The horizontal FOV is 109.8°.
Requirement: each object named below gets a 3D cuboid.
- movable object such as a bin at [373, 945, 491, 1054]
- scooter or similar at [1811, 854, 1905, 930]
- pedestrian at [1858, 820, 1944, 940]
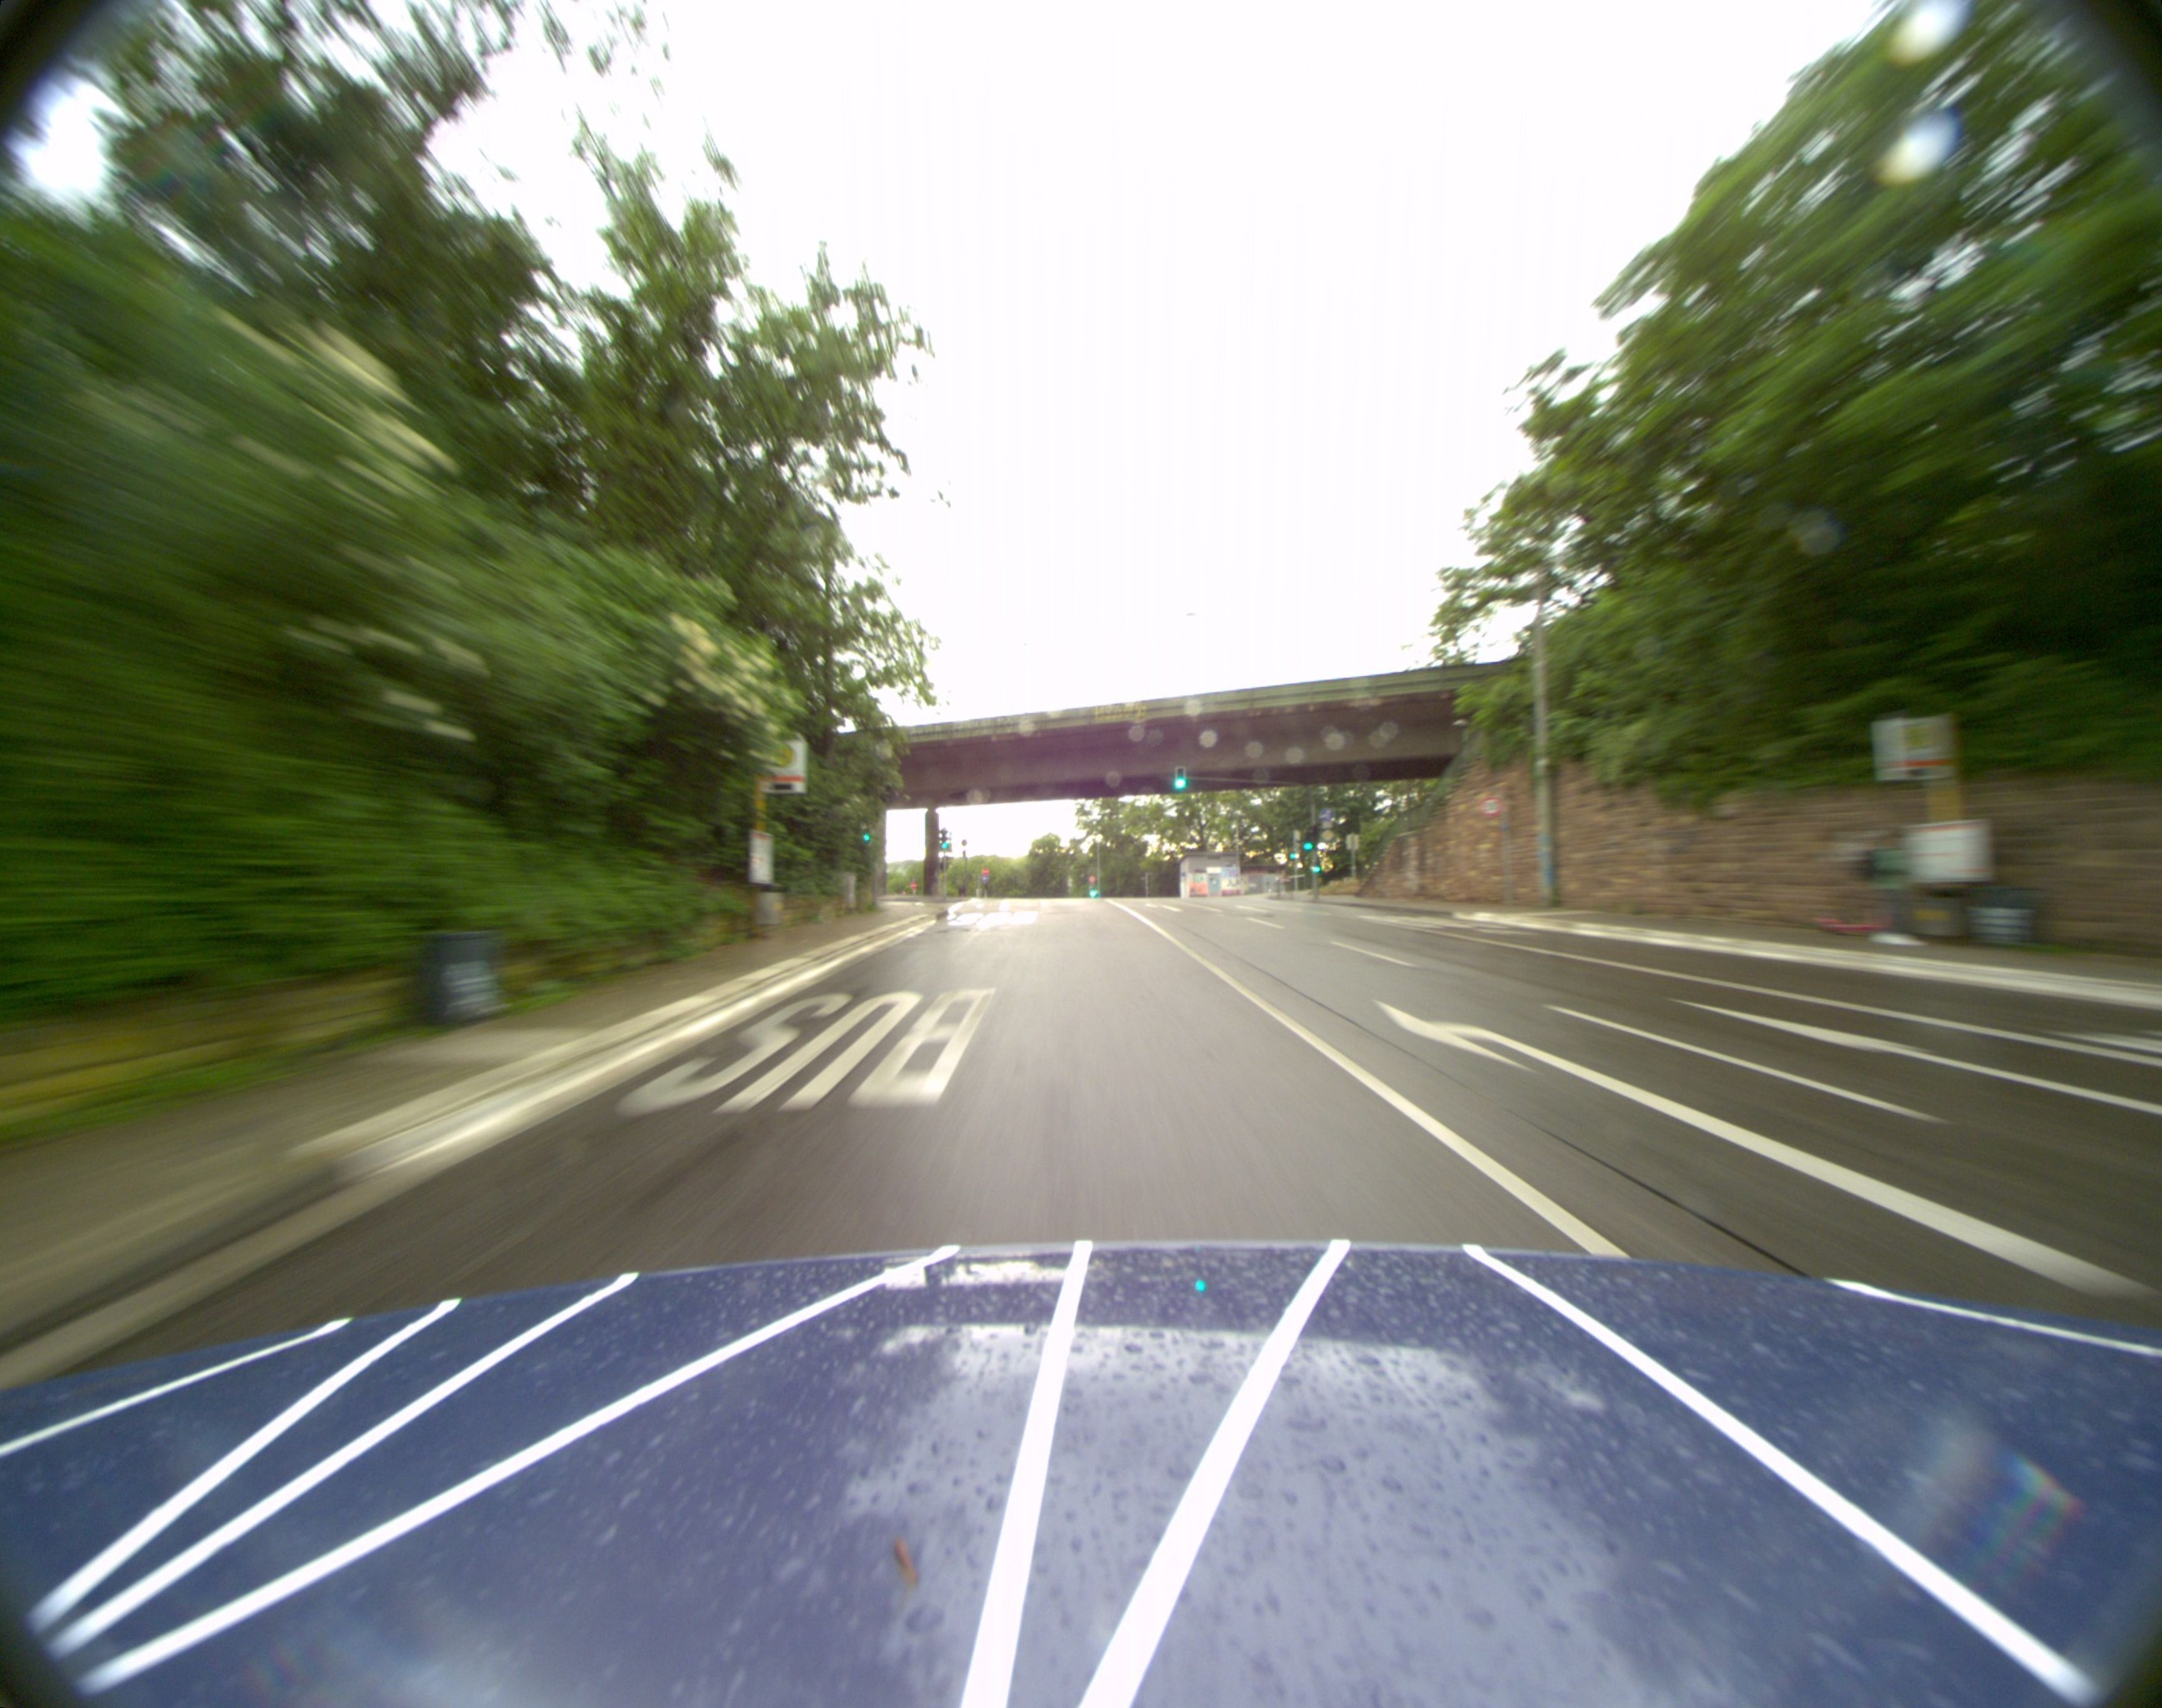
[{"bbox_3d":[-5.381,1.194,6.327,0.507,0.784,0.502,-2,1,-4],"label":"movable object such as a bin"},{"bbox_3d":[12.757,0.595,12.501,0.374,1.175,1.125,-2,1,-1],"label":"scooter or similar"},{"bbox_3d":[12.265,0.373,11.377,0.589,1.722,0.623,-2,1,-3],"label":"pedestrian"}]
